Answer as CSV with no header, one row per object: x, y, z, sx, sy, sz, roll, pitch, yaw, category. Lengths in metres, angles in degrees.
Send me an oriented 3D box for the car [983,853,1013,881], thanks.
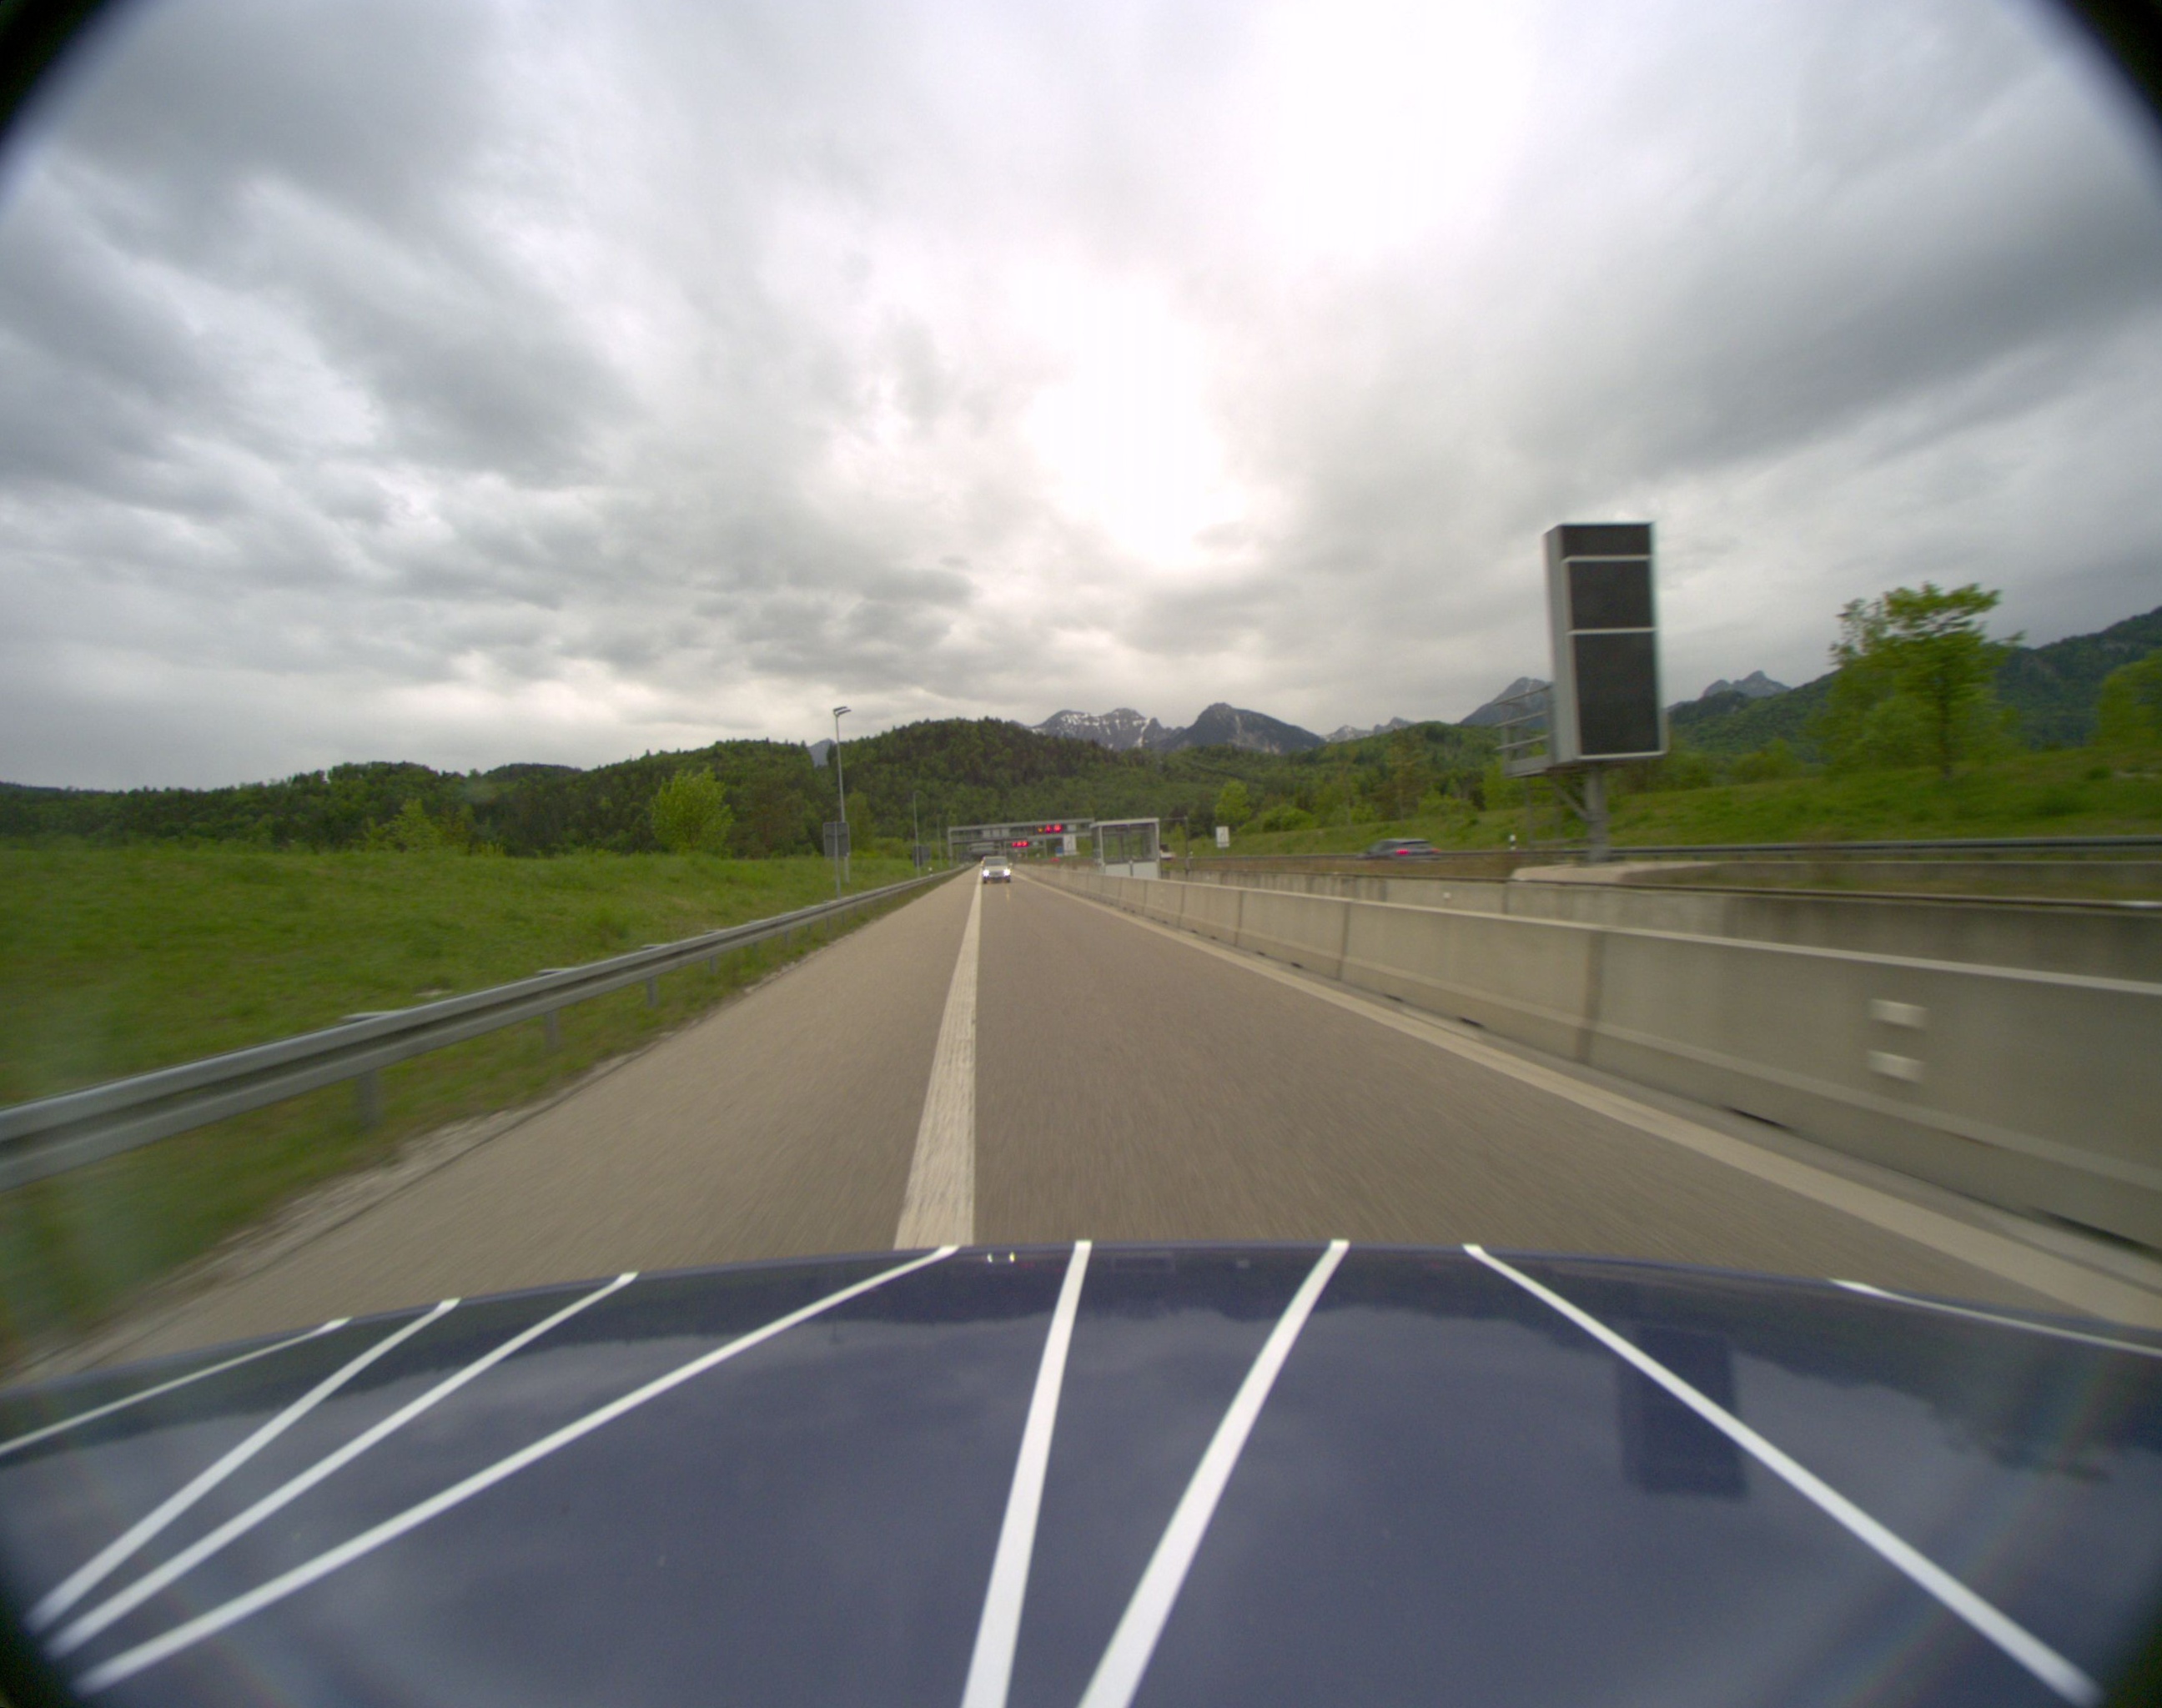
-5.899,0.891,54.406,1.924,1.871,5.135,-2,1,-5,car

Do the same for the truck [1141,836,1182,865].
7.497,-0.333,71.654,2.364,2.465,5.984,-3,0,-8,truck

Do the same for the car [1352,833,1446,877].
12.258,0.043,29.529,1.612,1.492,3.835,-3,0,-7,car

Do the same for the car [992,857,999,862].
-21.036,1.312,185.969,1.664,1.329,3.790,-2,0,-7,car

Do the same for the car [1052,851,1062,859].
-5.426,0.274,172.626,1.707,1.565,4.174,-3,0,-7,car
